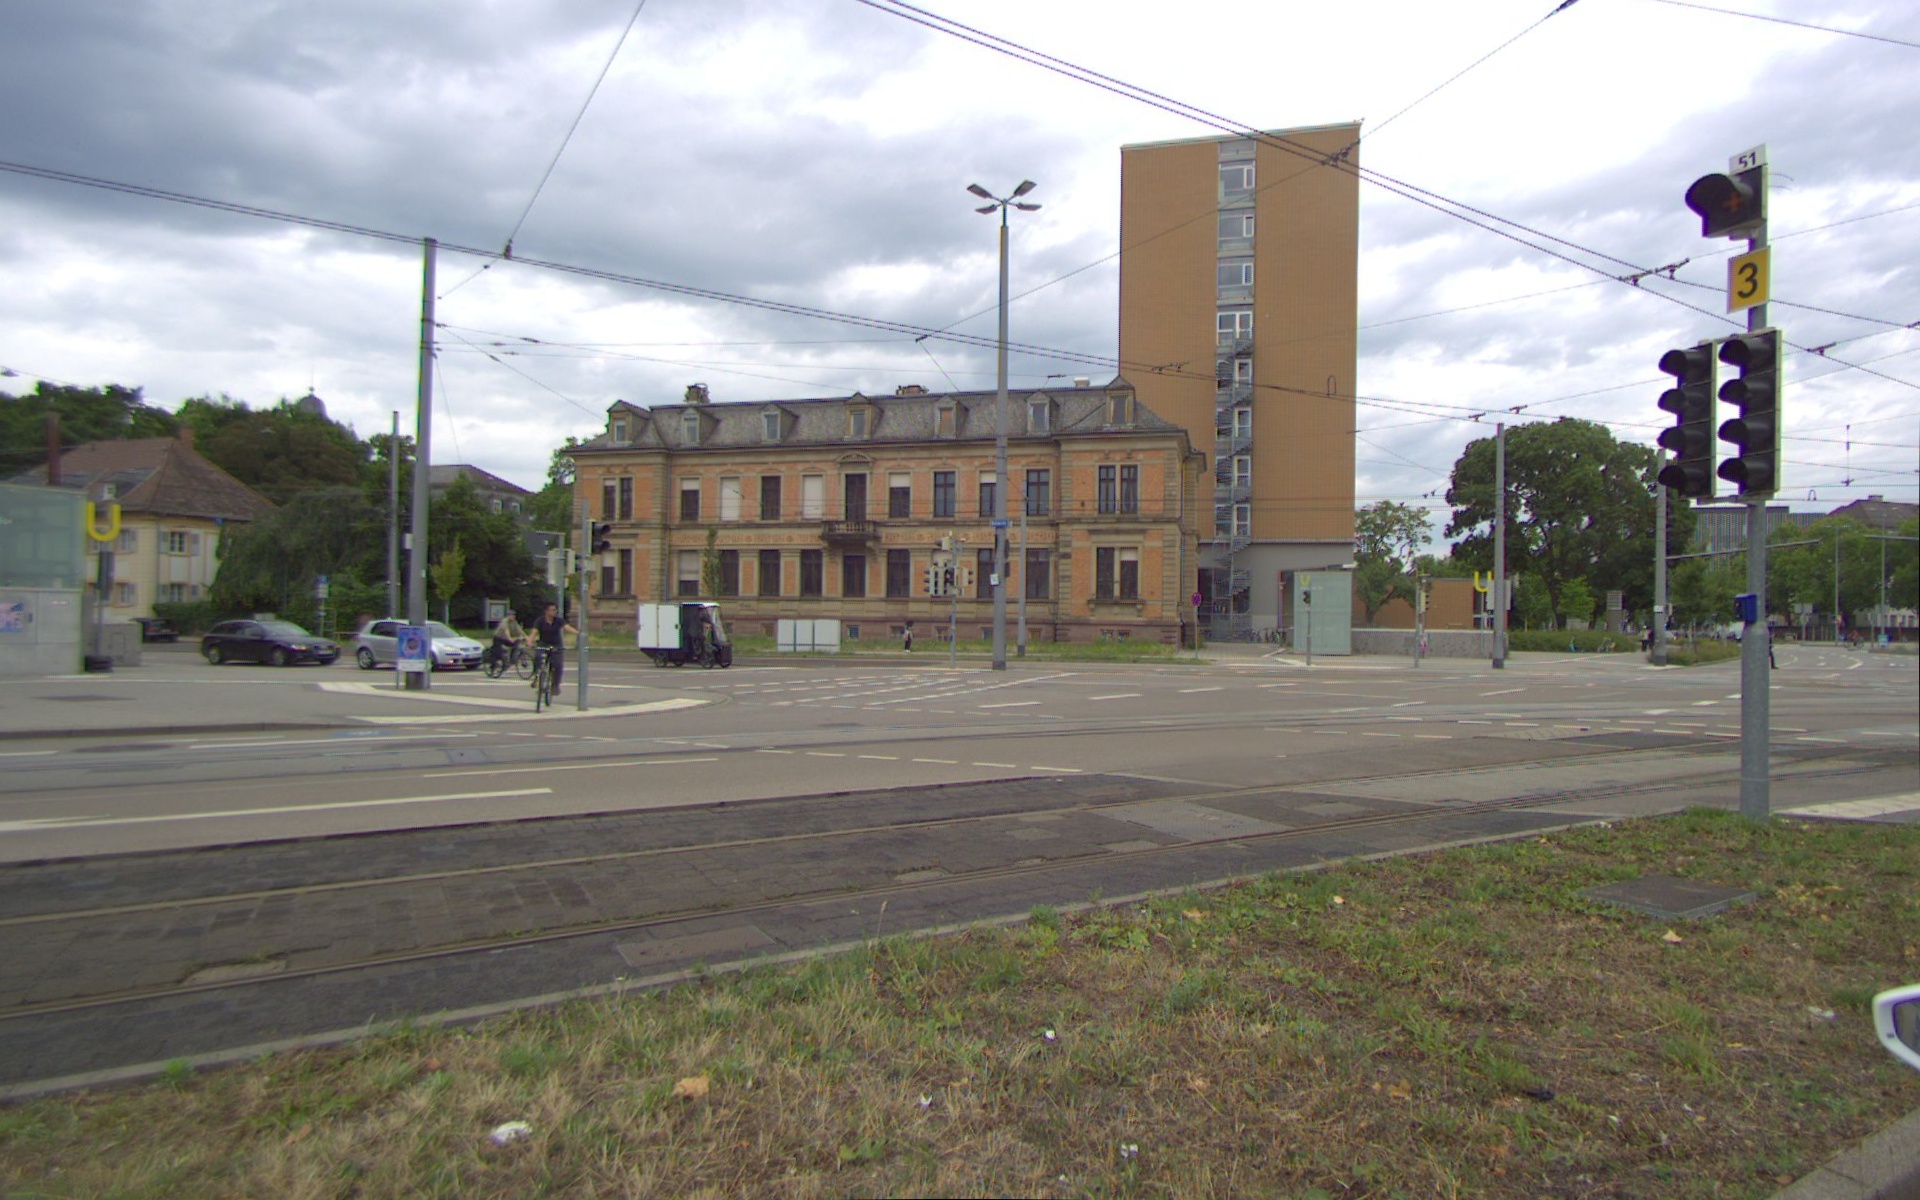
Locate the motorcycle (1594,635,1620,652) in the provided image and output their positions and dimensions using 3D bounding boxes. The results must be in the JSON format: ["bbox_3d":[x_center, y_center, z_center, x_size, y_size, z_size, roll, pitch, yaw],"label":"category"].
[{"bbox_3d":[43.687,2.949,67.838,1.716,1.126,0.510,1,-1,-17],"label":"motorcycle"}]

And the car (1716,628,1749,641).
[{"bbox_3d":[94.967,4.264,123.574,1.746,1.483,4.002,1,-1,14],"label":"car"}]

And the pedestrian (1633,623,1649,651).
[{"bbox_3d":[49.511,2.719,73.011,0.781,2.007,0.880,1,-2,26],"label":"pedestrian"}]

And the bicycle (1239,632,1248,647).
[{"bbox_3d":[20.994,2.915,74.301,0.561,1.120,1.428,1,-1,18],"label":"bicycle"}]

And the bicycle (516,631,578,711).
[{"bbox_3d":[-7.050,1.170,17.086,0.805,1.259,1.986,0,-2,-27],"label":"bicycle"}]

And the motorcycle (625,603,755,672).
[{"bbox_3d":[-8.476,1.137,31.572,3.614,2.040,1.696,0,-1,19],"label":"motorcycle"}]

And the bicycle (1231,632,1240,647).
[{"bbox_3d":[20.430,2.913,74.474,0.561,1.120,1.428,1,-1,18],"label":"bicycle"}]

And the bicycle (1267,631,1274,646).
[{"bbox_3d":[22.824,2.817,73.765,0.500,1.063,1.428,1,-1,18],"label":"bicycle"}]

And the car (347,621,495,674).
[{"bbox_3d":[-16.241,1.385,30.256,4.081,1.473,1.761,0,-1,23],"label":"car"}]

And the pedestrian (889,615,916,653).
[{"bbox_3d":[-2.719,1.617,47.633,1.104,1.786,0.759,1,-1,8],"label":"pedestrian"}]

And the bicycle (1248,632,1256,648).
[{"bbox_3d":[21.556,2.932,74.131,0.561,1.120,1.428,1,-1,18],"label":"bicycle"}]

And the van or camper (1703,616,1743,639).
[{"bbox_3d":[108.256,3.840,142.515,2.347,3.165,5.507,1,-1,12],"label":"van or camper"}]

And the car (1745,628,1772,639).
[{"bbox_3d":[110.502,4.604,139.069,1.746,1.483,4.000,1,0,19],"label":"car"}]

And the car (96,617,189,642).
[{"bbox_3d":[-45.031,1.606,55.349,3.919,1.305,1.936,1,-1,12],"label":"car"}]

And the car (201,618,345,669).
[{"bbox_3d":[-22.039,1.357,32.225,4.061,1.468,1.697,1,-1,18],"label":"car"}]

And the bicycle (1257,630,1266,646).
[{"bbox_3d":[22.200,2.809,73.964,0.561,1.120,1.428,1,-1,18],"label":"bicycle"}]

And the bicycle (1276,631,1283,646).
[{"bbox_3d":[23.398,2.803,73.642,0.472,1.063,1.428,1,-1,18],"label":"bicycle"}]

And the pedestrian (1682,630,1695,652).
[{"bbox_3d":[67.695,3.822,93.342,0.868,2.007,0.792,0,-2,42],"label":"pedestrian"}]

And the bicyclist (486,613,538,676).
[{"bbox_3d":[-11.852,1.169,26.603,0.899,1.644,0.855,0,-1,20],"label":"bicyclist"}]

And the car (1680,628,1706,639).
[{"bbox_3d":[109.926,5.067,150.620,1.746,1.483,4.002,1,0,15],"label":"car"}]

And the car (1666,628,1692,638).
[{"bbox_3d":[113.893,5.282,159.139,1.745,1.483,4.002,1,0,11],"label":"car"}]

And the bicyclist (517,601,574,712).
[{"bbox_3d":[-7.081,0.939,17.155,0.805,1.822,1.022,0,0,-28],"label":"bicyclist"}]

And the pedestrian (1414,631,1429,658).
[{"bbox_3d":[23.153,2.223,50.432,0.562,1.353,0.499,1,-1,10],"label":"pedestrian"}]

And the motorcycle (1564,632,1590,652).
[{"bbox_3d":[41.584,2.807,67.712,1.443,1.285,0.512,1,-1,14],"label":"motorcycle"}]

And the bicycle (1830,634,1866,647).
[{"bbox_3d":[87.289,3.983,98.760,2.676,1.194,0.942,1,-1,-1],"label":"bicycle"}]

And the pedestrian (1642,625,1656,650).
[{"bbox_3d":[55.648,3.044,81.094,0.781,2.007,0.880,1,-2,26],"label":"pedestrian"}]

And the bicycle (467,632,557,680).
[{"bbox_3d":[-11.863,1.468,26.595,2.154,1.224,0.857,0,-2,20],"label":"bicycle"}]

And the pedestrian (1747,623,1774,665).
[{"bbox_3d":[39.691,2.192,49.782,1.009,2.040,0.842,0,-1,41],"label":"pedestrian"}]
